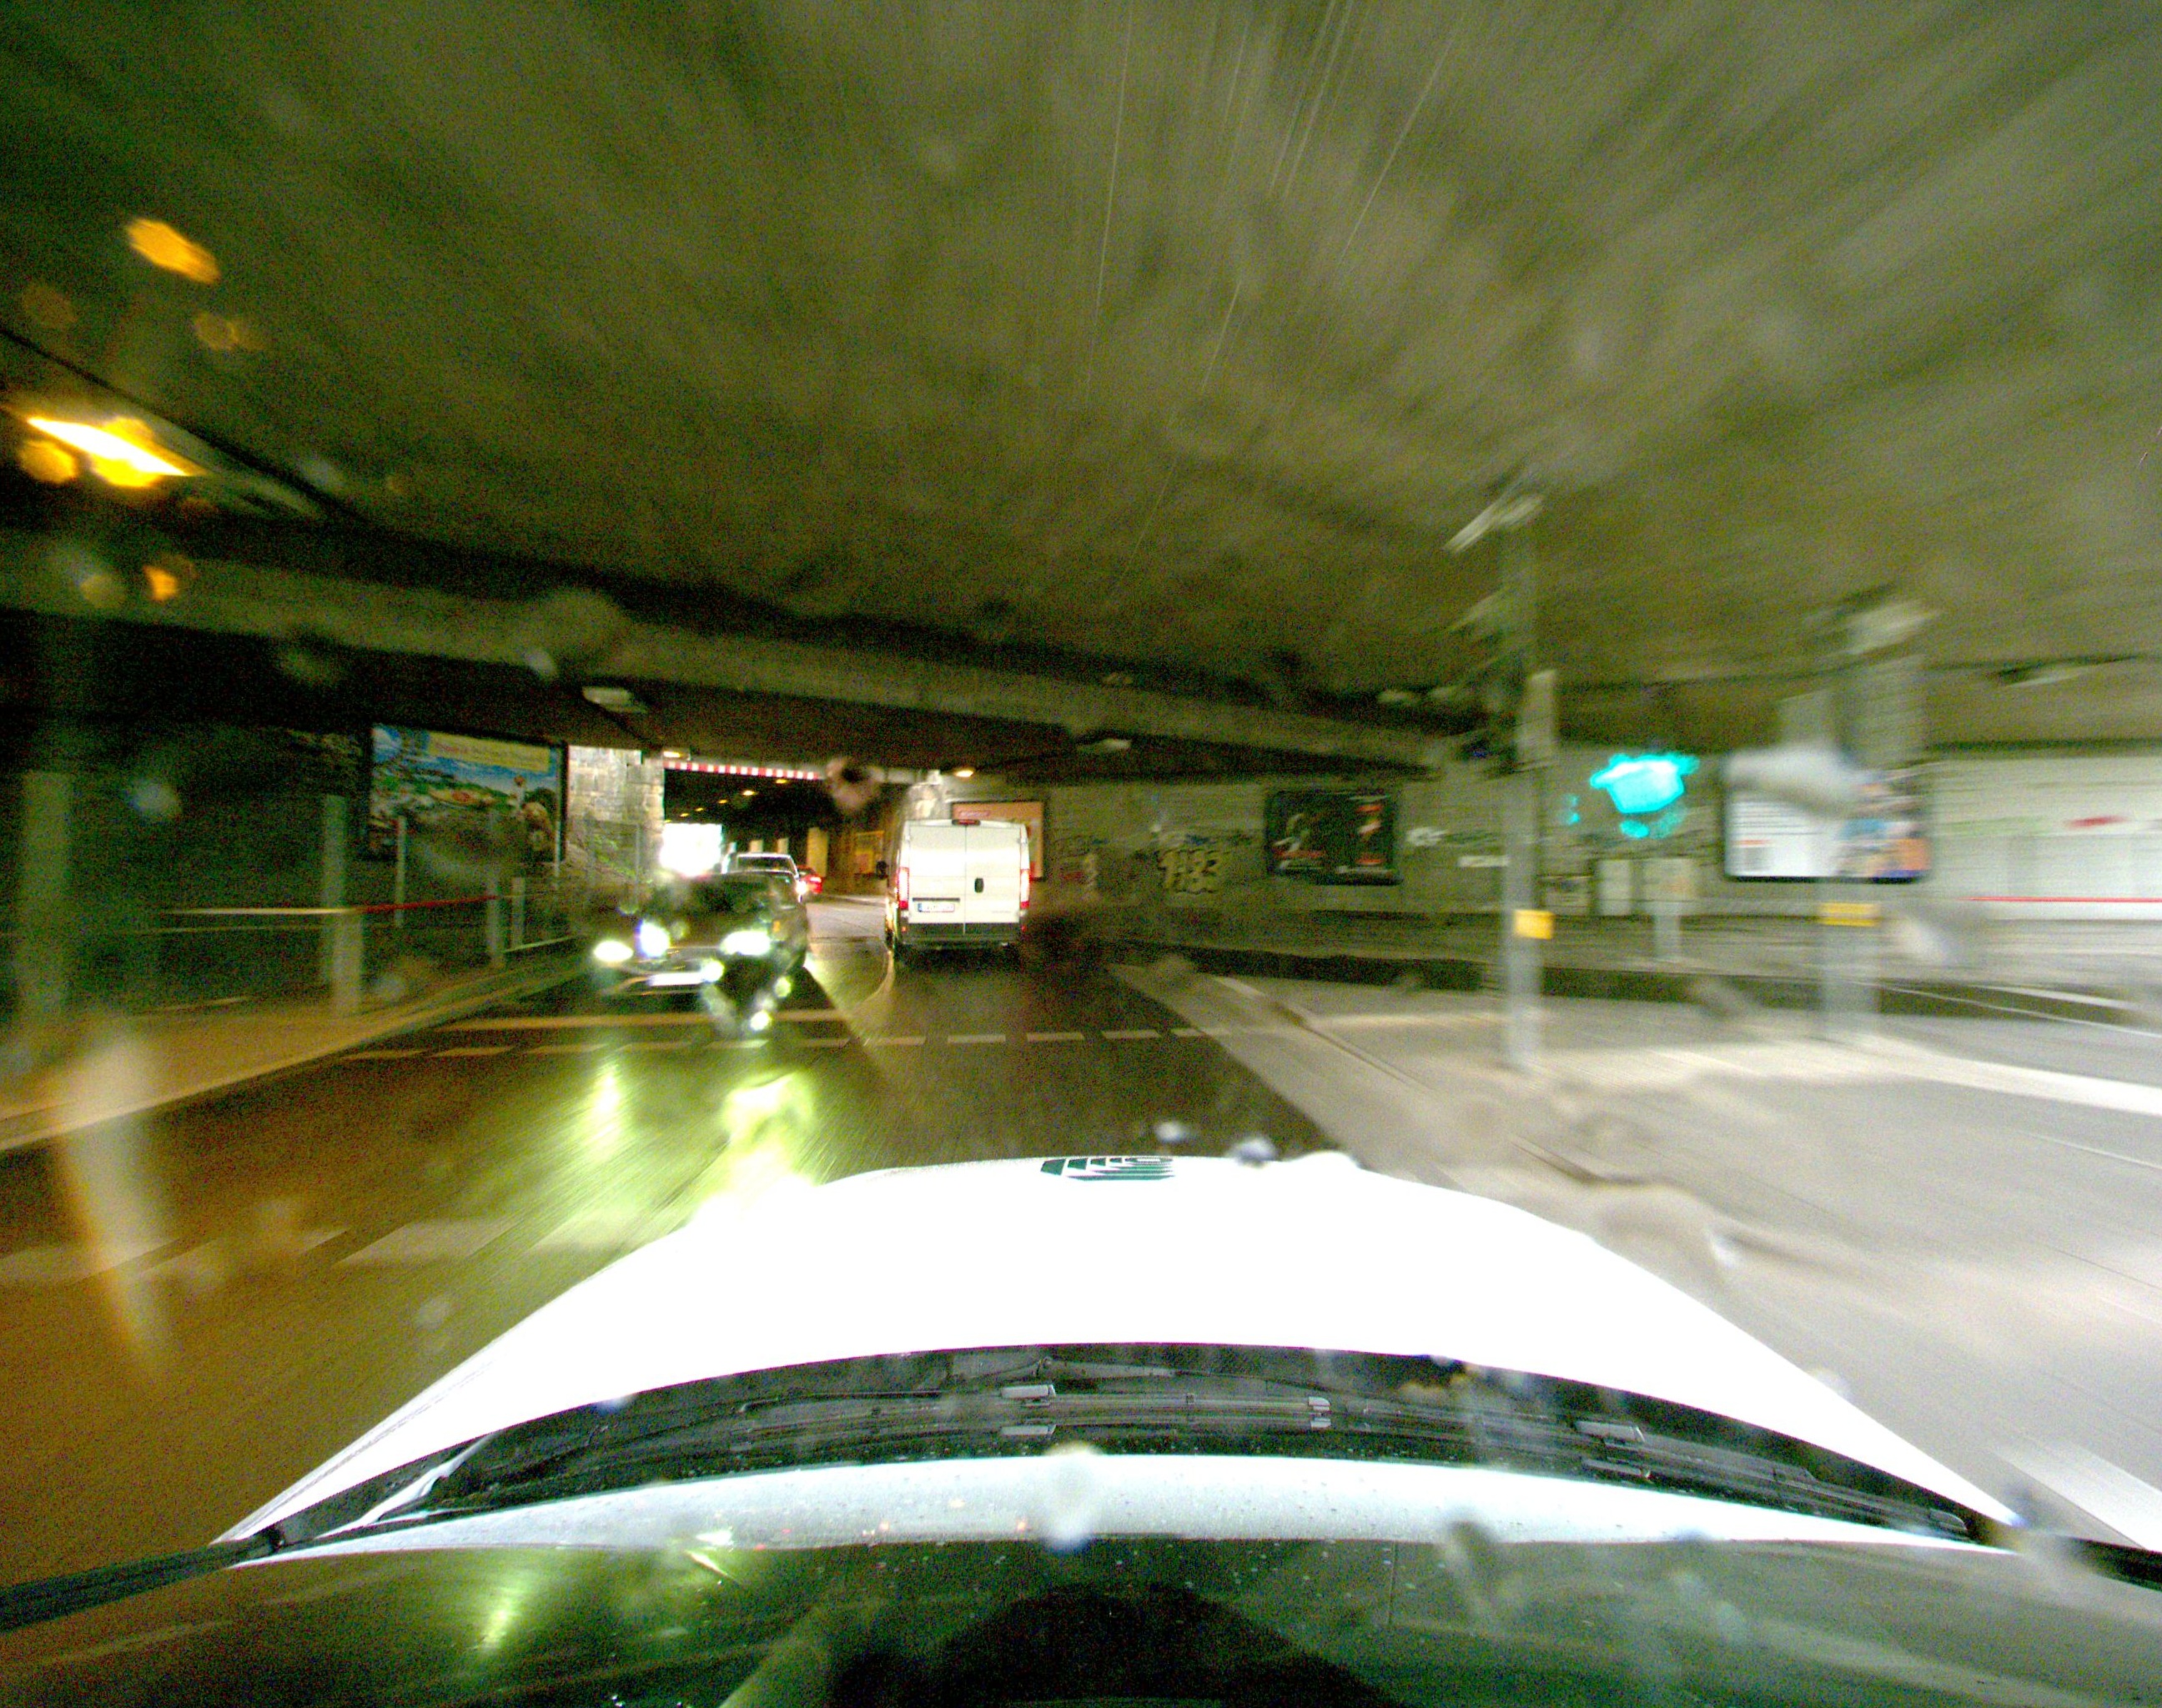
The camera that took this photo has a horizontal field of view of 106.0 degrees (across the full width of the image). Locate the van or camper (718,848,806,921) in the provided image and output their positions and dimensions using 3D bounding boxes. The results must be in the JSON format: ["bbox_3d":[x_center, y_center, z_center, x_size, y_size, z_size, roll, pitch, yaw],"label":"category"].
[{"bbox_3d":[-9.451,0.826,23.872,2.004,1.868,5.094,0,-1,-26],"label":"van or camper"}]

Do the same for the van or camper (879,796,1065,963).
[{"bbox_3d":[-2.174,0.438,14.489,2.703,2.417,4.878,0,-2,-15],"label":"van or camper"}]

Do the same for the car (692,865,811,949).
[{"bbox_3d":[-6.652,0.975,16.789,2.000,1.465,4.078,-1,-1,-19],"label":"car"}]

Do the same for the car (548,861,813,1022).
[{"bbox_3d":[-4.690,0.867,10.326,1.995,1.530,4.480,0,0,-13],"label":"car"}]

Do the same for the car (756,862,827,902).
[{"bbox_3d":[-11.545,1.065,32.322,1.848,1.438,4.062,0,0,-32],"label":"car"}]
